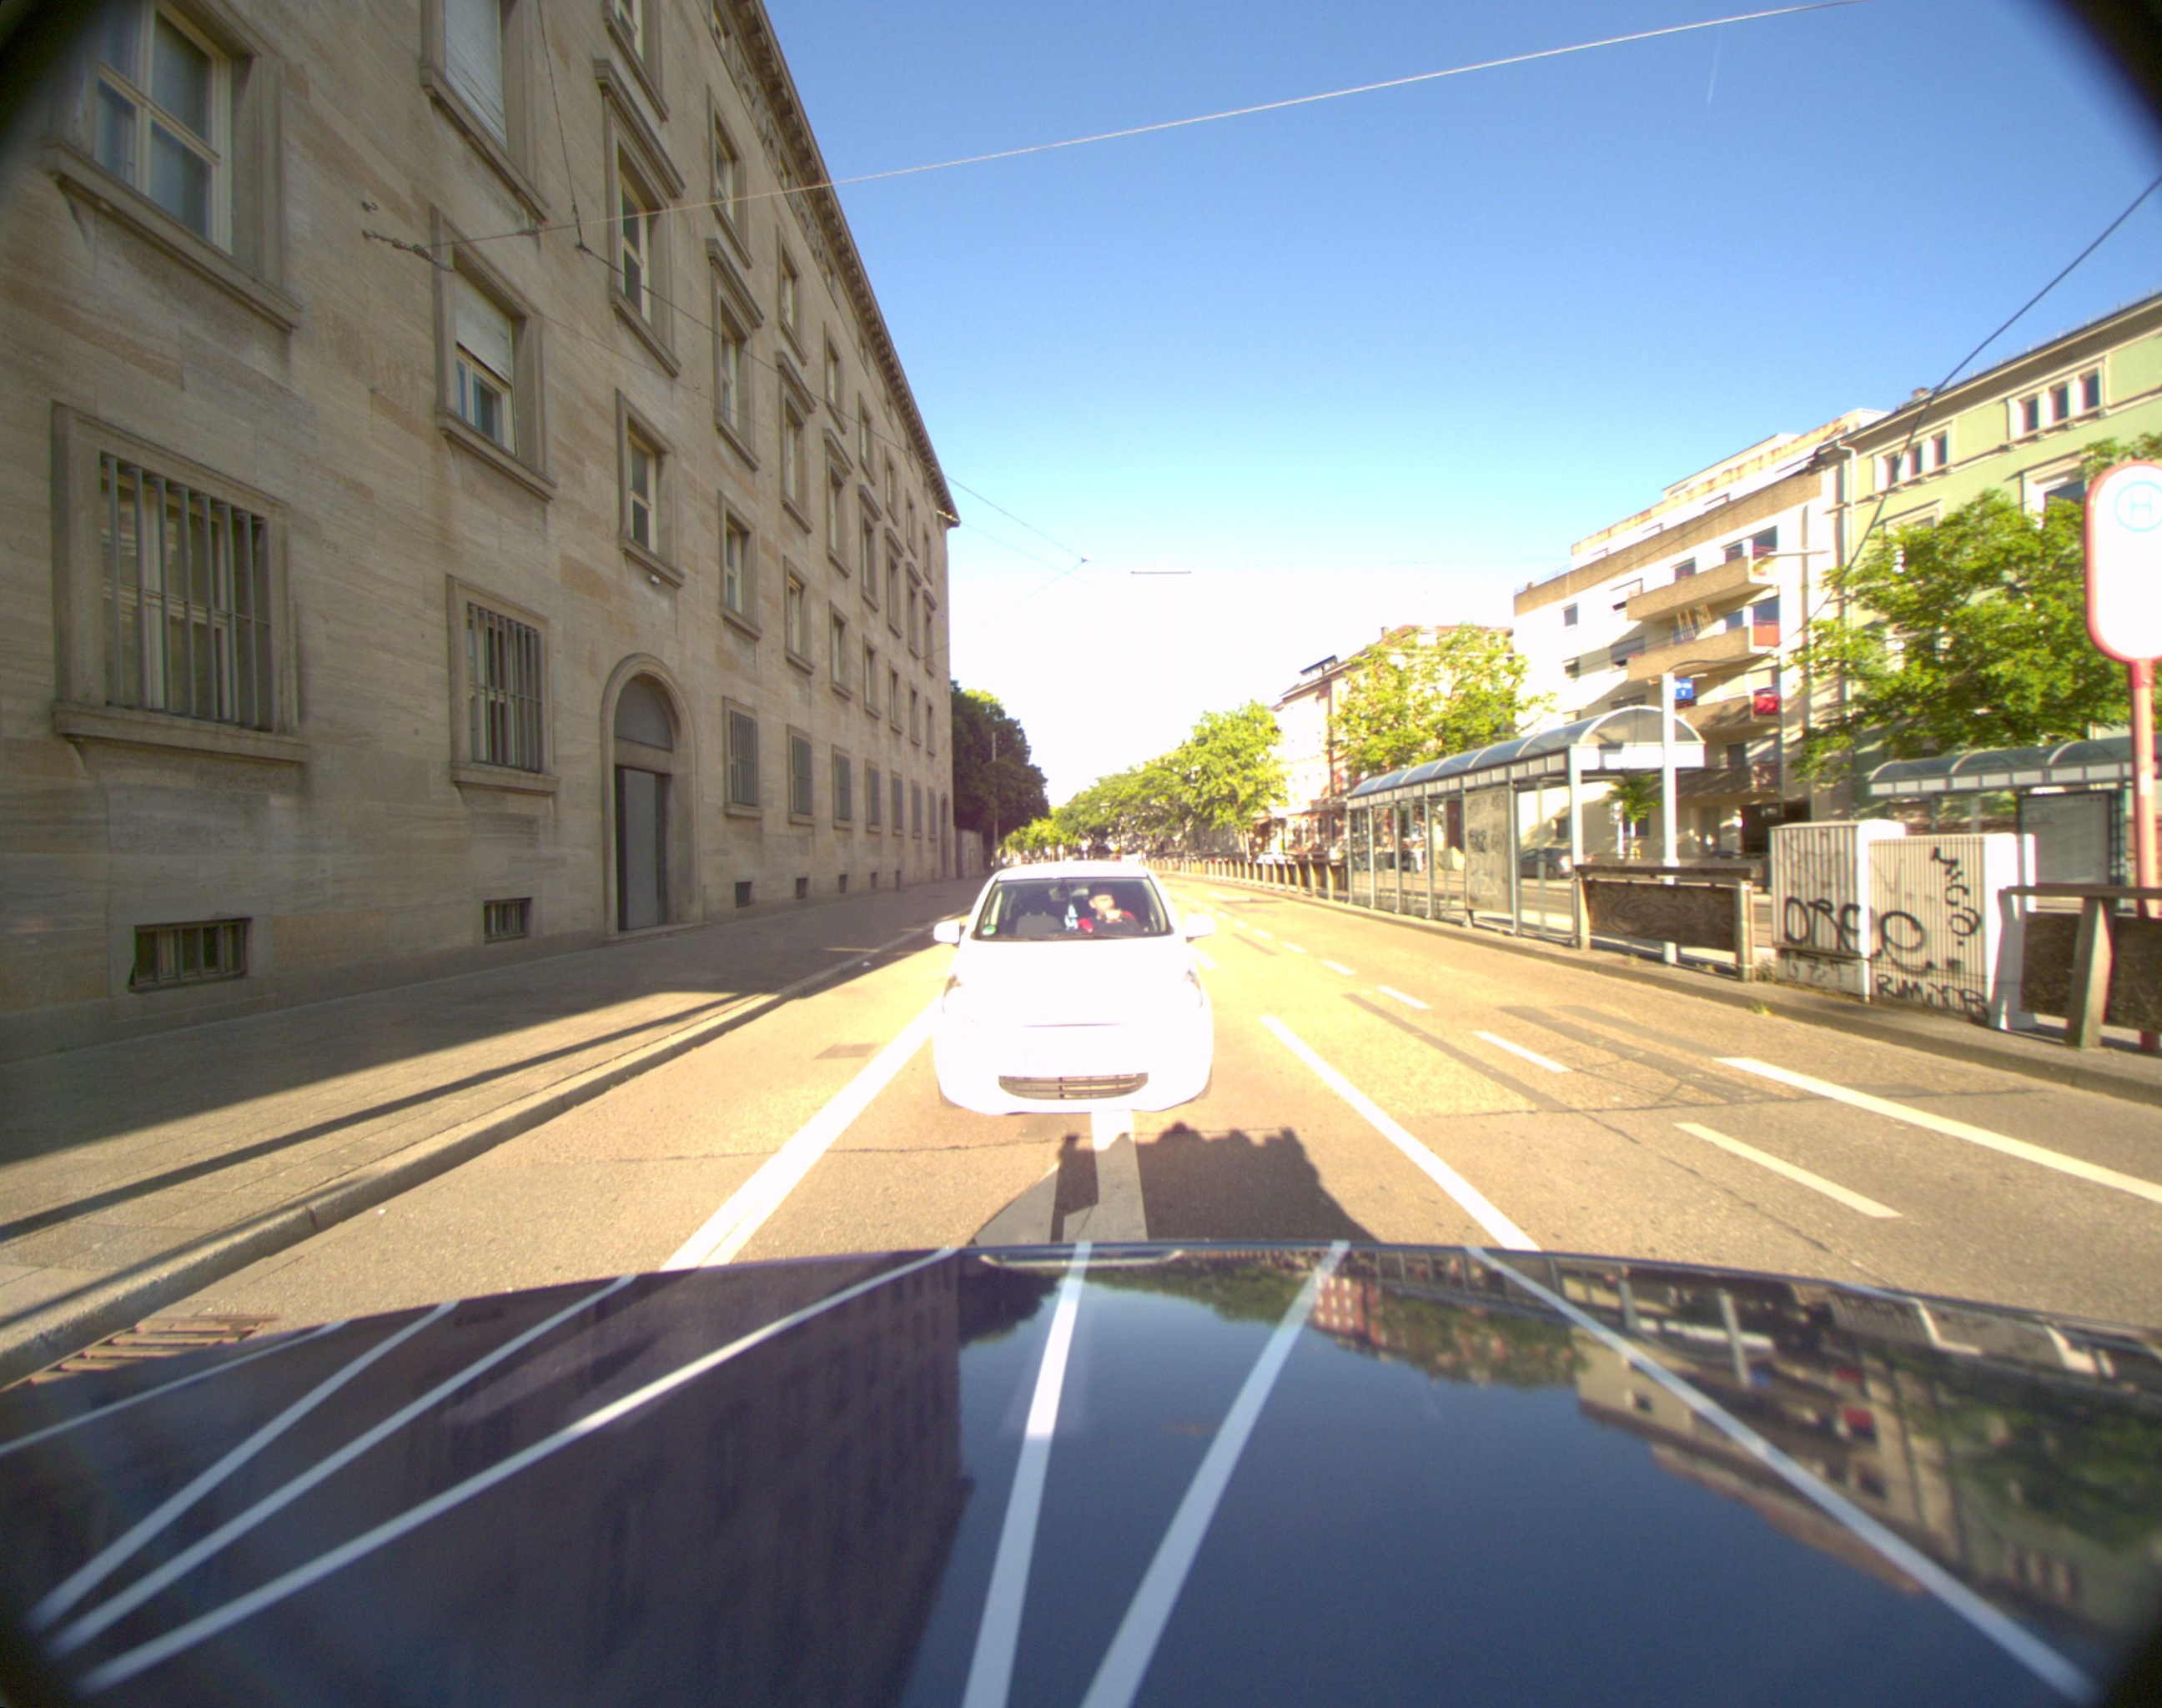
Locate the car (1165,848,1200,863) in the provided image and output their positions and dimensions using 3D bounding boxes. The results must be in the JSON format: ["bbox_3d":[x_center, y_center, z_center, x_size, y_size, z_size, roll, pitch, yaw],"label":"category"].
[{"bbox_3d":[11.434,0.151,86.089,3.864,1.583,2.001,-1,0,5],"label":"car"}]

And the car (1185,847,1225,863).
[{"bbox_3d":[13.155,0.091,80.529,3.996,1.674,2.000,-1,0,4],"label":"car"}]

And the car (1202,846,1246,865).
[{"bbox_3d":[13.634,0.134,72.592,3.996,1.674,2.000,-1,0,4],"label":"car"}]

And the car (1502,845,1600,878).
[{"bbox_3d":[20.844,0.320,33.834,1.615,1.387,3.516,-1,0,-19],"label":"car"}]

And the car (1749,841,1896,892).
[{"bbox_3d":[23.932,0.372,24.550,3.796,1.526,1.772,-1,0,-17],"label":"car"}]

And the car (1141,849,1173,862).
[{"bbox_3d":[9.562,0.137,95.715,3.864,1.583,2.001,-1,0,4],"label":"car"}]

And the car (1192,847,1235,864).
[{"bbox_3d":[13.348,0.119,76.726,3.996,1.674,2.000,-1,0,4],"label":"car"}]

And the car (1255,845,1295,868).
[{"bbox_3d":[16.302,0.168,63.677,1.994,1.713,4.007,0,2,34],"label":"car"}]

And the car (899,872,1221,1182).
[{"bbox_3d":[-0.081,0.925,5.687,1.612,1.450,3.667,-1,0,1],"label":"car"}]
